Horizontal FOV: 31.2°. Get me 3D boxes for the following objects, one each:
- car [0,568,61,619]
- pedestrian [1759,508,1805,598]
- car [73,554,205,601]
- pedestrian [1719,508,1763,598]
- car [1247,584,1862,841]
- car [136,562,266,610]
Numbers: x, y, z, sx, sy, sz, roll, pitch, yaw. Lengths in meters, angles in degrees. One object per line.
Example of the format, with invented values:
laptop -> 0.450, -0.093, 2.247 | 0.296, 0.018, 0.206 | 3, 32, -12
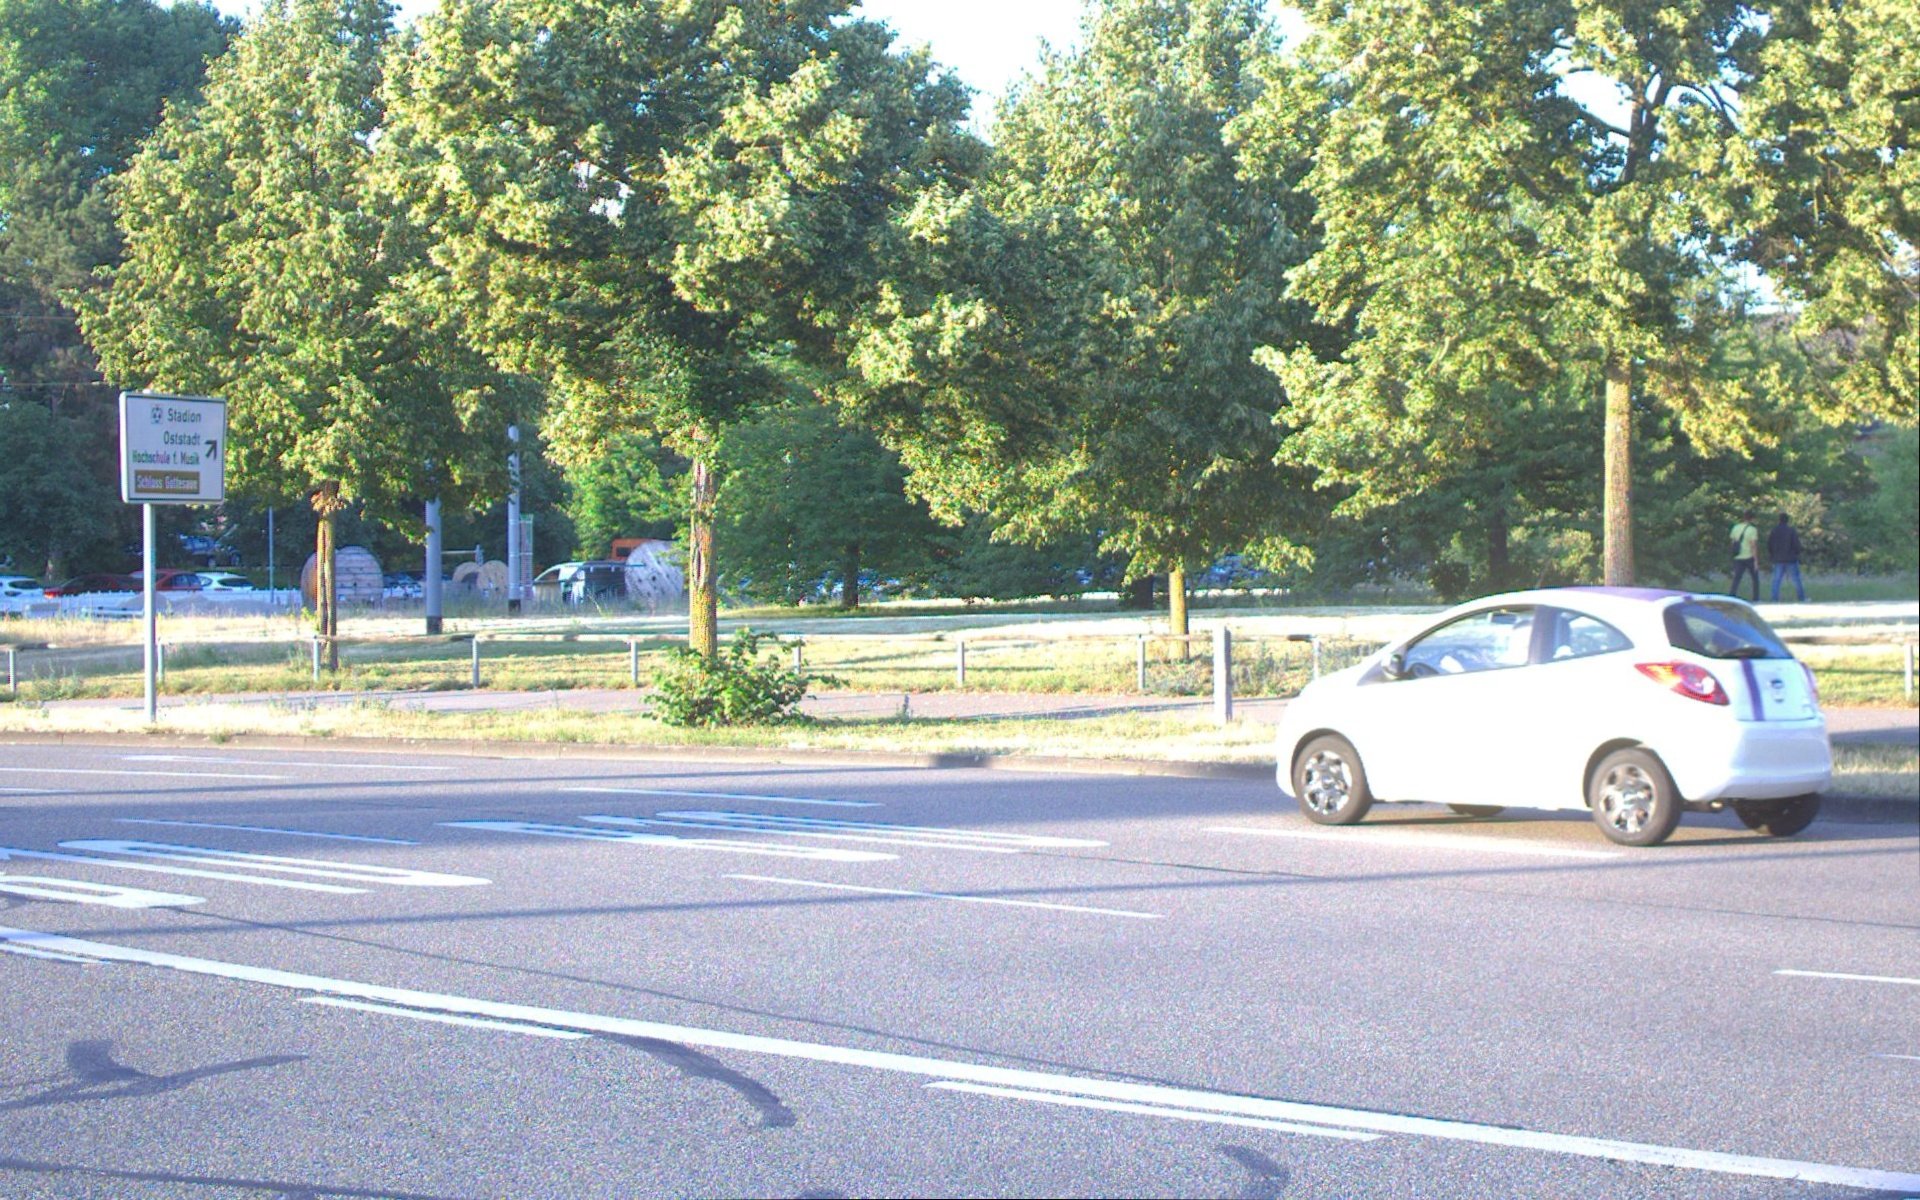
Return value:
car -> -30.407, -0.216, 107.939 | 3.994, 1.545, 1.997 | 0, 1, 31
pedestrian -> 14.956, -0.858, 62.564 | 0.618, 1.621, 0.530 | -1, 1, -30
car -> -27.263, -0.757, 114.195 | 3.994, 1.545, 1.997 | 0, 1, 31
pedestrian -> 14.213, -0.859, 62.578 | 0.579, 1.621, 0.533 | -1, 1, -31
car -> 3.575, 0.623, 21.061 | 1.550, 1.438, 3.485 | 0, 0, -43
car -> -25.543, -0.482, 115.692 | 3.994, 1.545, 1.997 | 0, 1, 31
